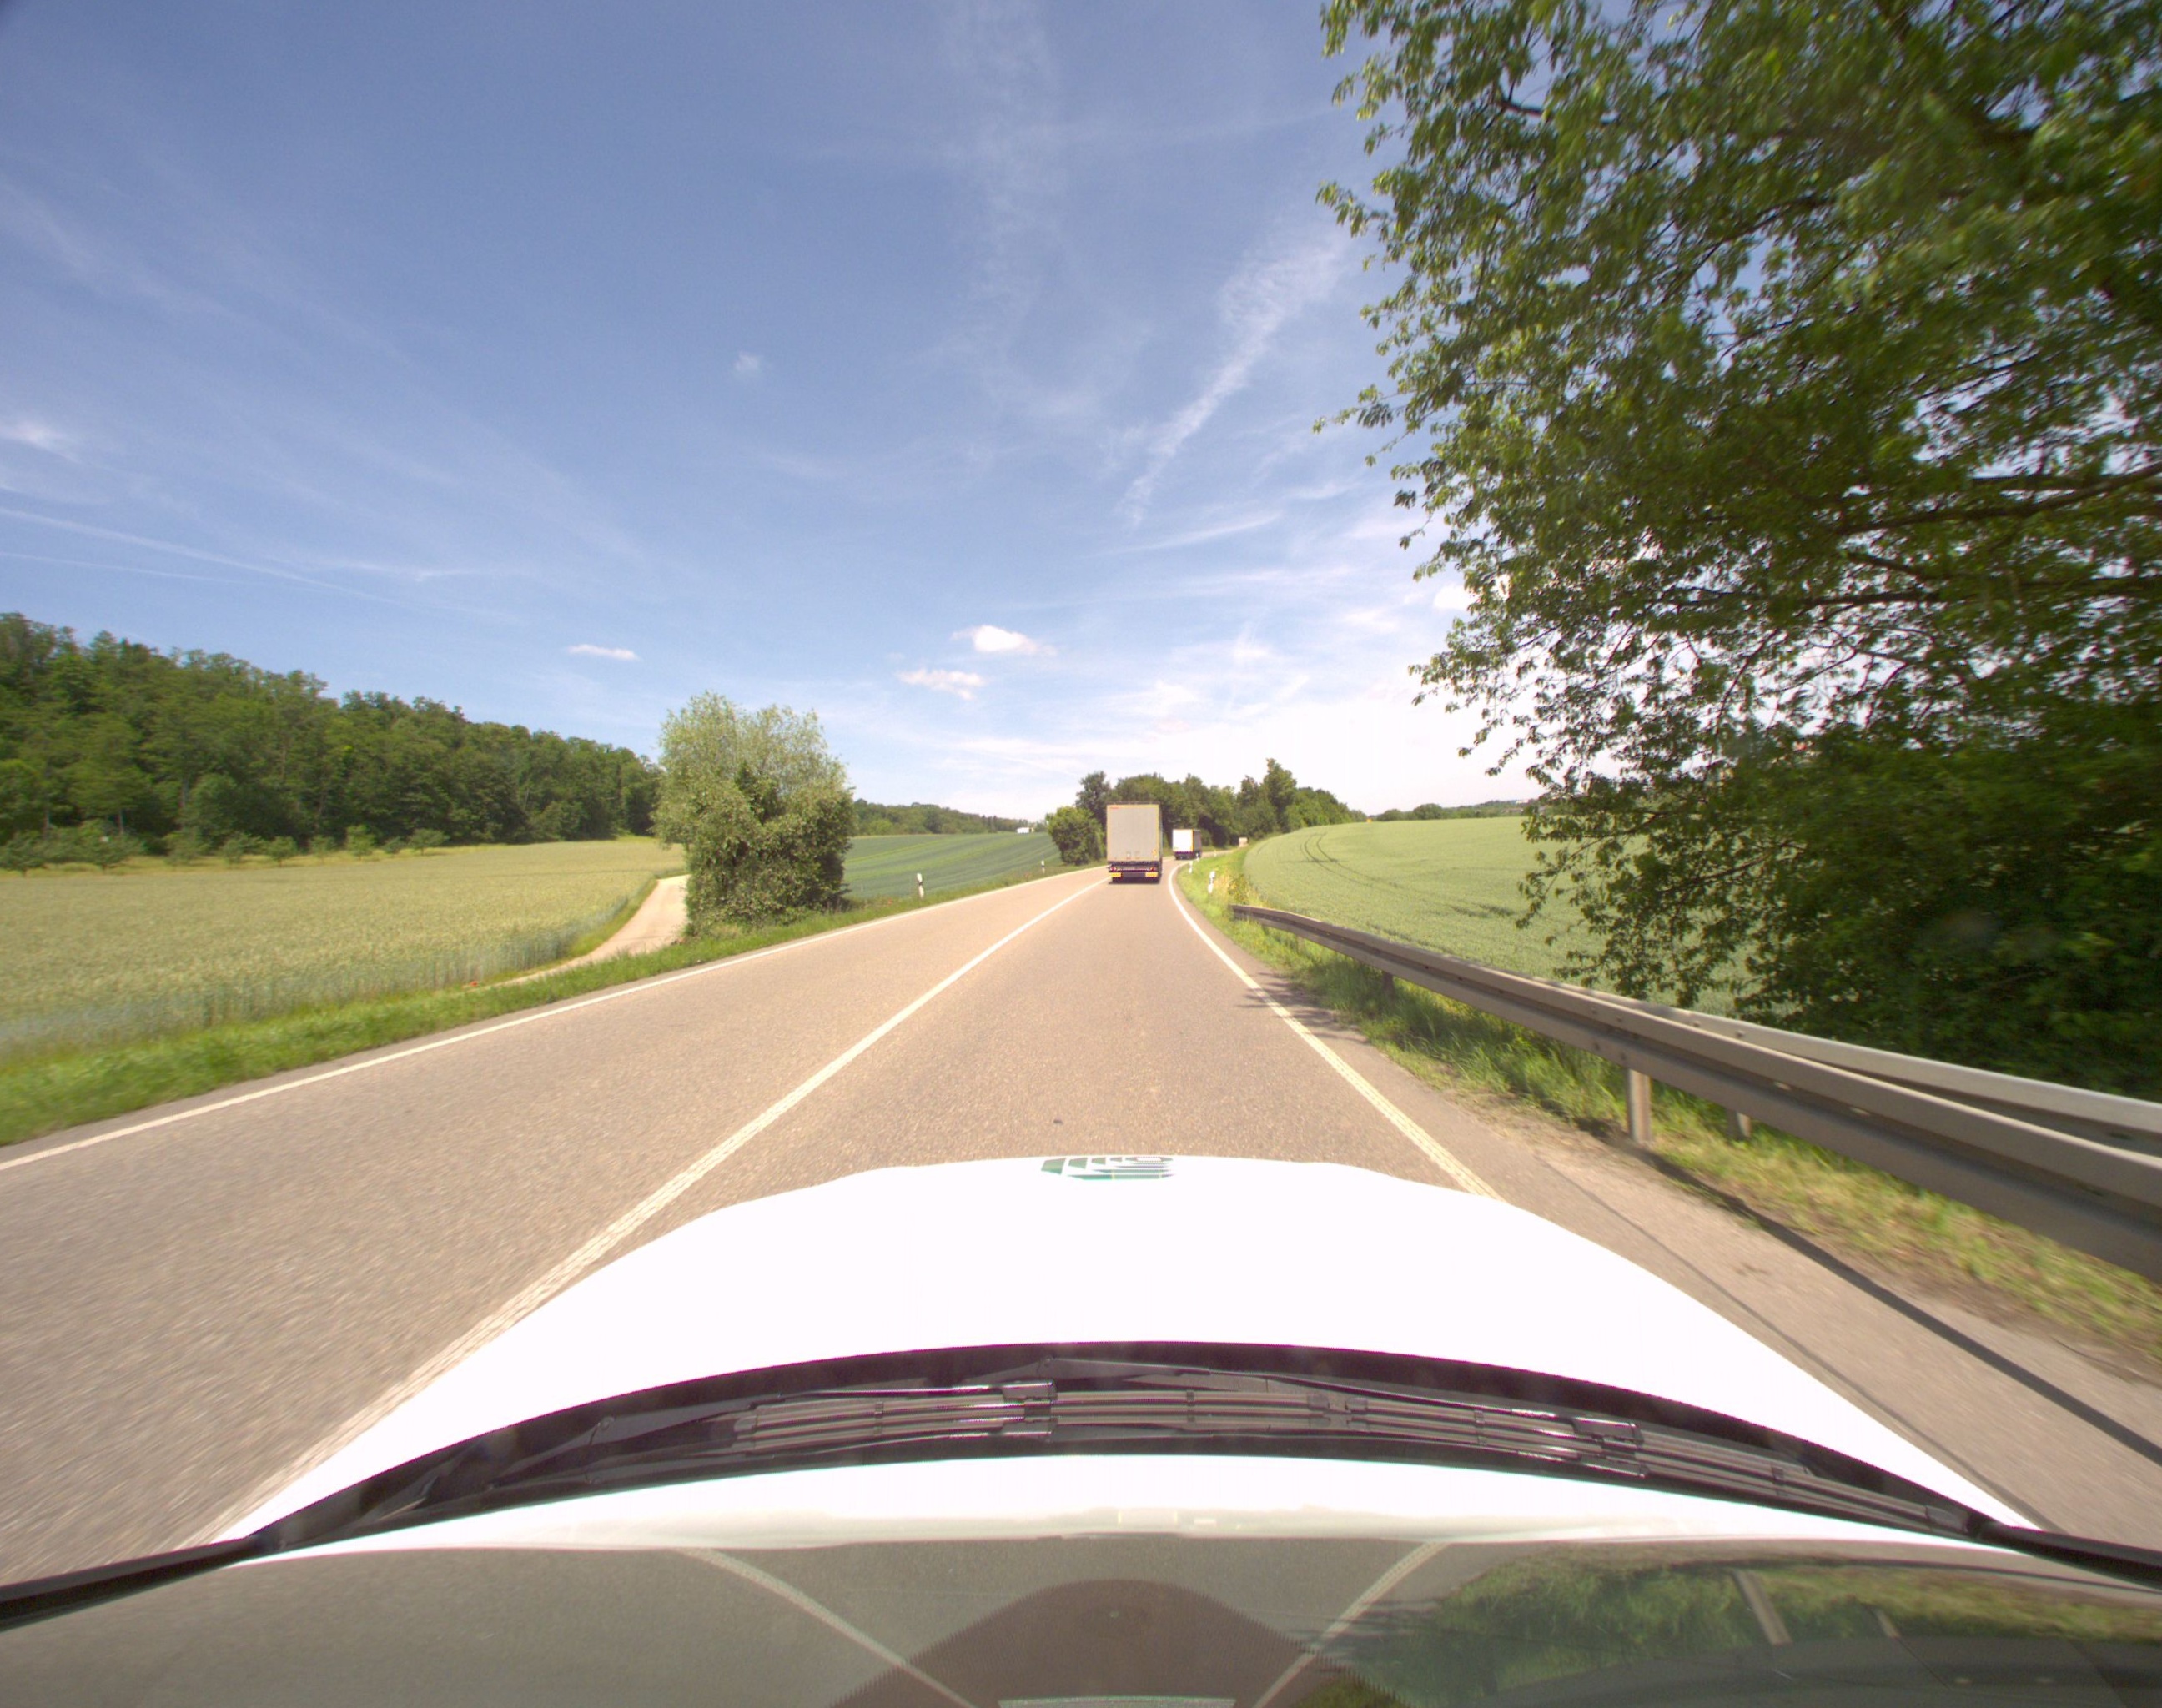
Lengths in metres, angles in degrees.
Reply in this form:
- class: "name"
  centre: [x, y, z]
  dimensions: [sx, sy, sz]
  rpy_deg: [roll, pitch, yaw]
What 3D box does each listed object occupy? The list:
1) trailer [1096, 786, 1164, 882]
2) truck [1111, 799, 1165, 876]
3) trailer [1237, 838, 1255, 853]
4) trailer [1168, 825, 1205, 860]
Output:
- class: "trailer"
  centre: [3.032, -0.951, 45.652]
  dimensions: [3.103, 4.500, 13.908]
  rpy_deg: [-1, 0, 6]
- class: "truck"
  centre: [3.705, -0.979, 51.767]
  dimensions: [3.103, 4.494, 6.822]
  rpy_deg: [-1, 0, 6]
- class: "trailer"
  centre: [39.758, -1.997, 195.921]
  dimensions: [2.799, 3.309, 11.572]
  rpy_deg: [-2, -2, 19]
- class: "trailer"
  centre: [14.673, -1.723, 111.846]
  dimensions: [3.341, 4.316, 13.920]
  rpy_deg: [-2, 2, 14]
